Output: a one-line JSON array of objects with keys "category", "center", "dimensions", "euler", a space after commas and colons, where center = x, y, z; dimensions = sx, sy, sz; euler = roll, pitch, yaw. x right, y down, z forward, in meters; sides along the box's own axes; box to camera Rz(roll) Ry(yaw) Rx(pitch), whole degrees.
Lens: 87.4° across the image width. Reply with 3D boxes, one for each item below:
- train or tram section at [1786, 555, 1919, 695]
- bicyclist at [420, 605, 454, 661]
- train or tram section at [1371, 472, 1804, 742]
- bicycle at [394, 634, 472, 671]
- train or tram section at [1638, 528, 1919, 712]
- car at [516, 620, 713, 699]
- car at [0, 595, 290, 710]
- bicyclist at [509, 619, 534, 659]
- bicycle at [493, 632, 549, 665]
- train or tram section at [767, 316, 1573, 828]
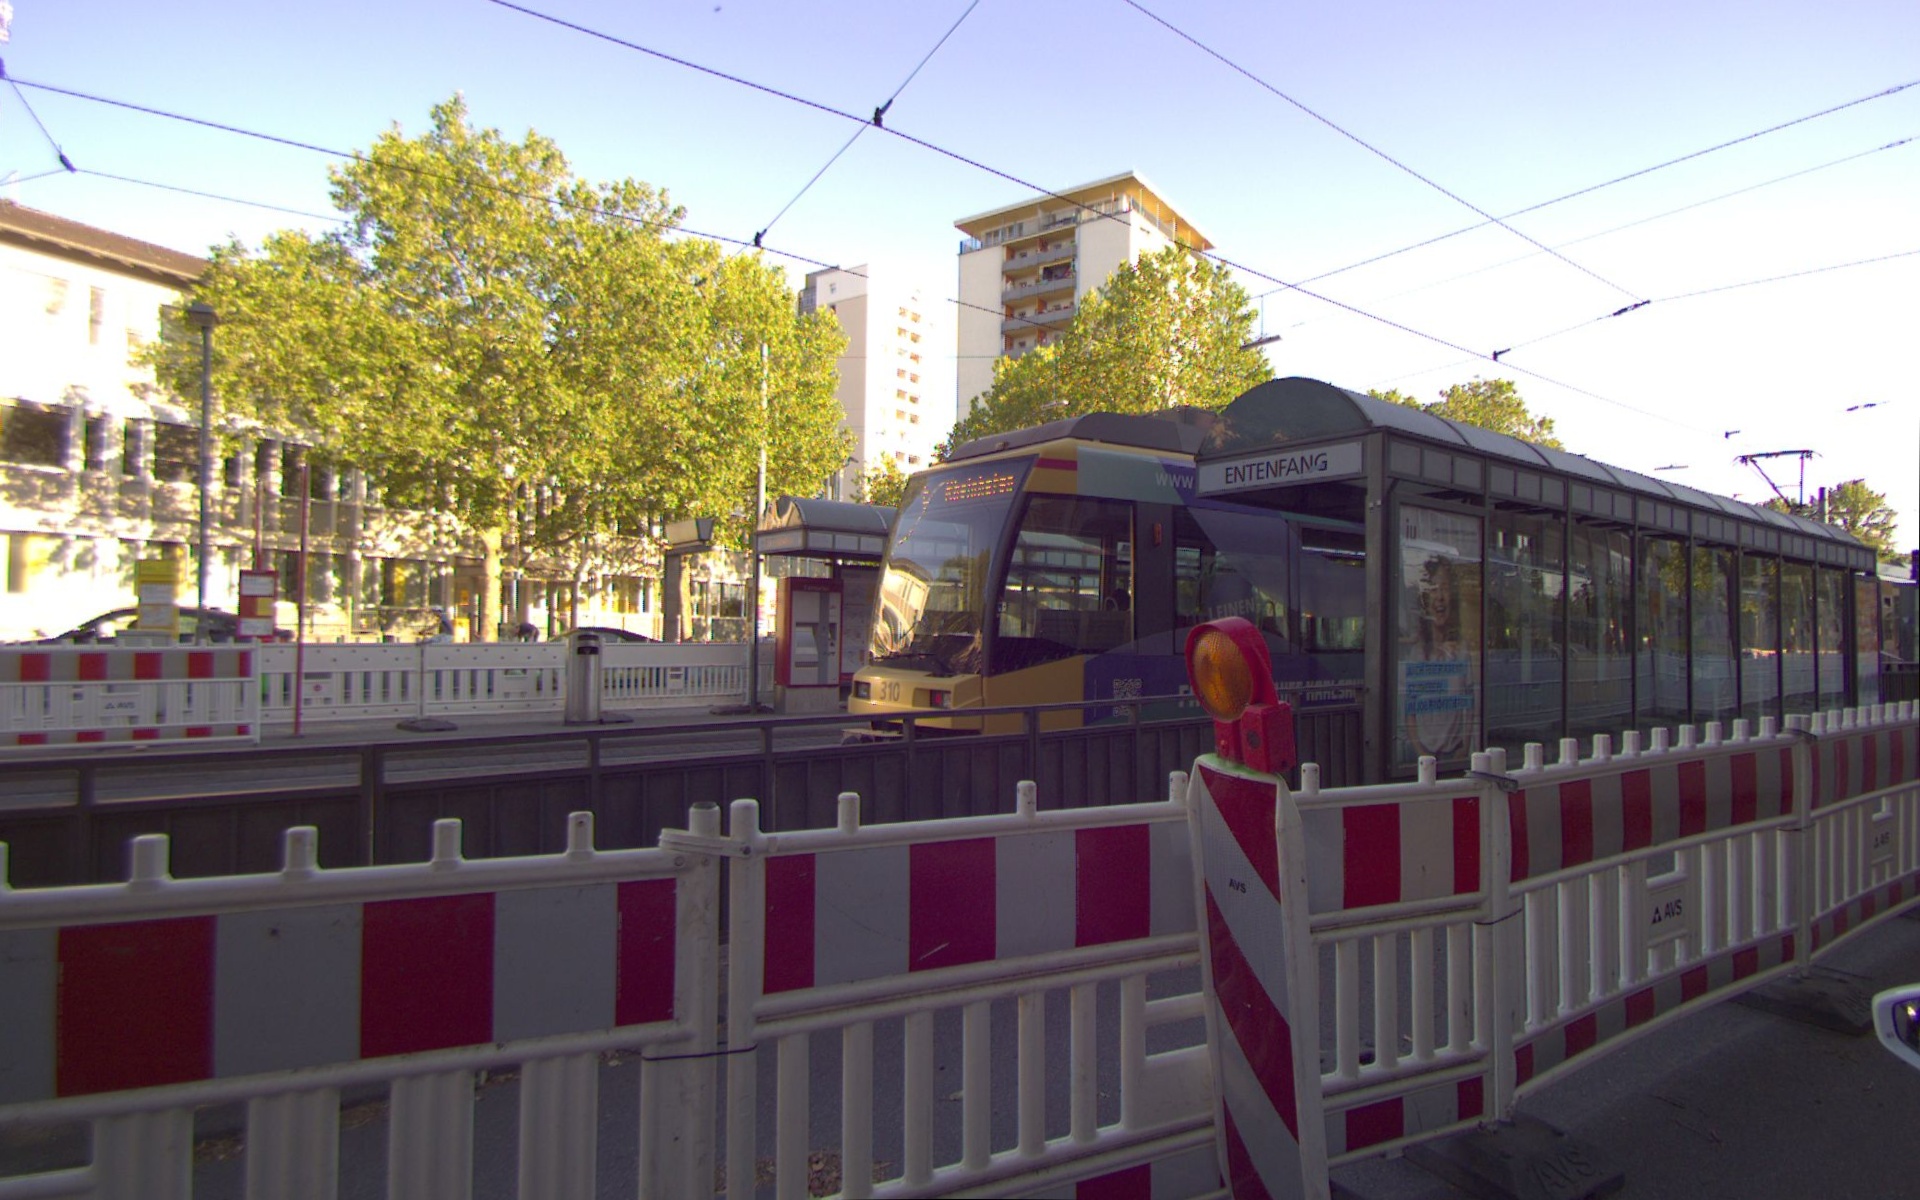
[{"category": "train or tram section", "center": [27.686, 0.790, 29.632], "dimensions": [10.242, 3.533, 2.796], "euler": [2, -1, -37]}, {"category": "bicyclist", "center": [-13.534, 0.848, 25.995], "dimensions": [0.716, 1.415, 0.517], "euler": [2, -1, -30]}, {"category": "train or tram section", "center": [11.280, 0.240, 17.382], "dimensions": [10.241, 3.533, 2.851], "euler": [2, -1, -37]}, {"category": "bicycle", "center": [-13.597, 1.360, 25.949], "dimensions": [1.749, 0.932, 0.517], "euler": [2, -2, -31]}, {"category": "train or tram section", "center": [19.480, 0.531, 23.524], "dimensions": [10.243, 3.533, 2.815], "euler": [2, -1, -37]}, {"category": "car", "center": [-7.598, 1.275, 22.244], "dimensions": [3.807, 1.597, 1.677], "euler": [2, -2, -38]}, {"category": "car", "center": [-13.813, 0.813, 16.523], "dimensions": [4.544, 1.689, 1.881], "euler": [2, 0, -37]}, {"category": "bicyclist", "center": [-12.708, 1.136, 29.131], "dimensions": [0.451, 1.137, 0.504], "euler": [0, -2, 43]}, {"category": "bicycle", "center": [-12.716, 1.392, 29.124], "dimensions": [0.451, 0.925, 1.424], "euler": [0, -2, 42]}, {"category": "train or tram section", "center": [3.160, -0.045, 11.198], "dimensions": [10.245, 3.533, 2.814], "euler": [2, -1, -38]}]
